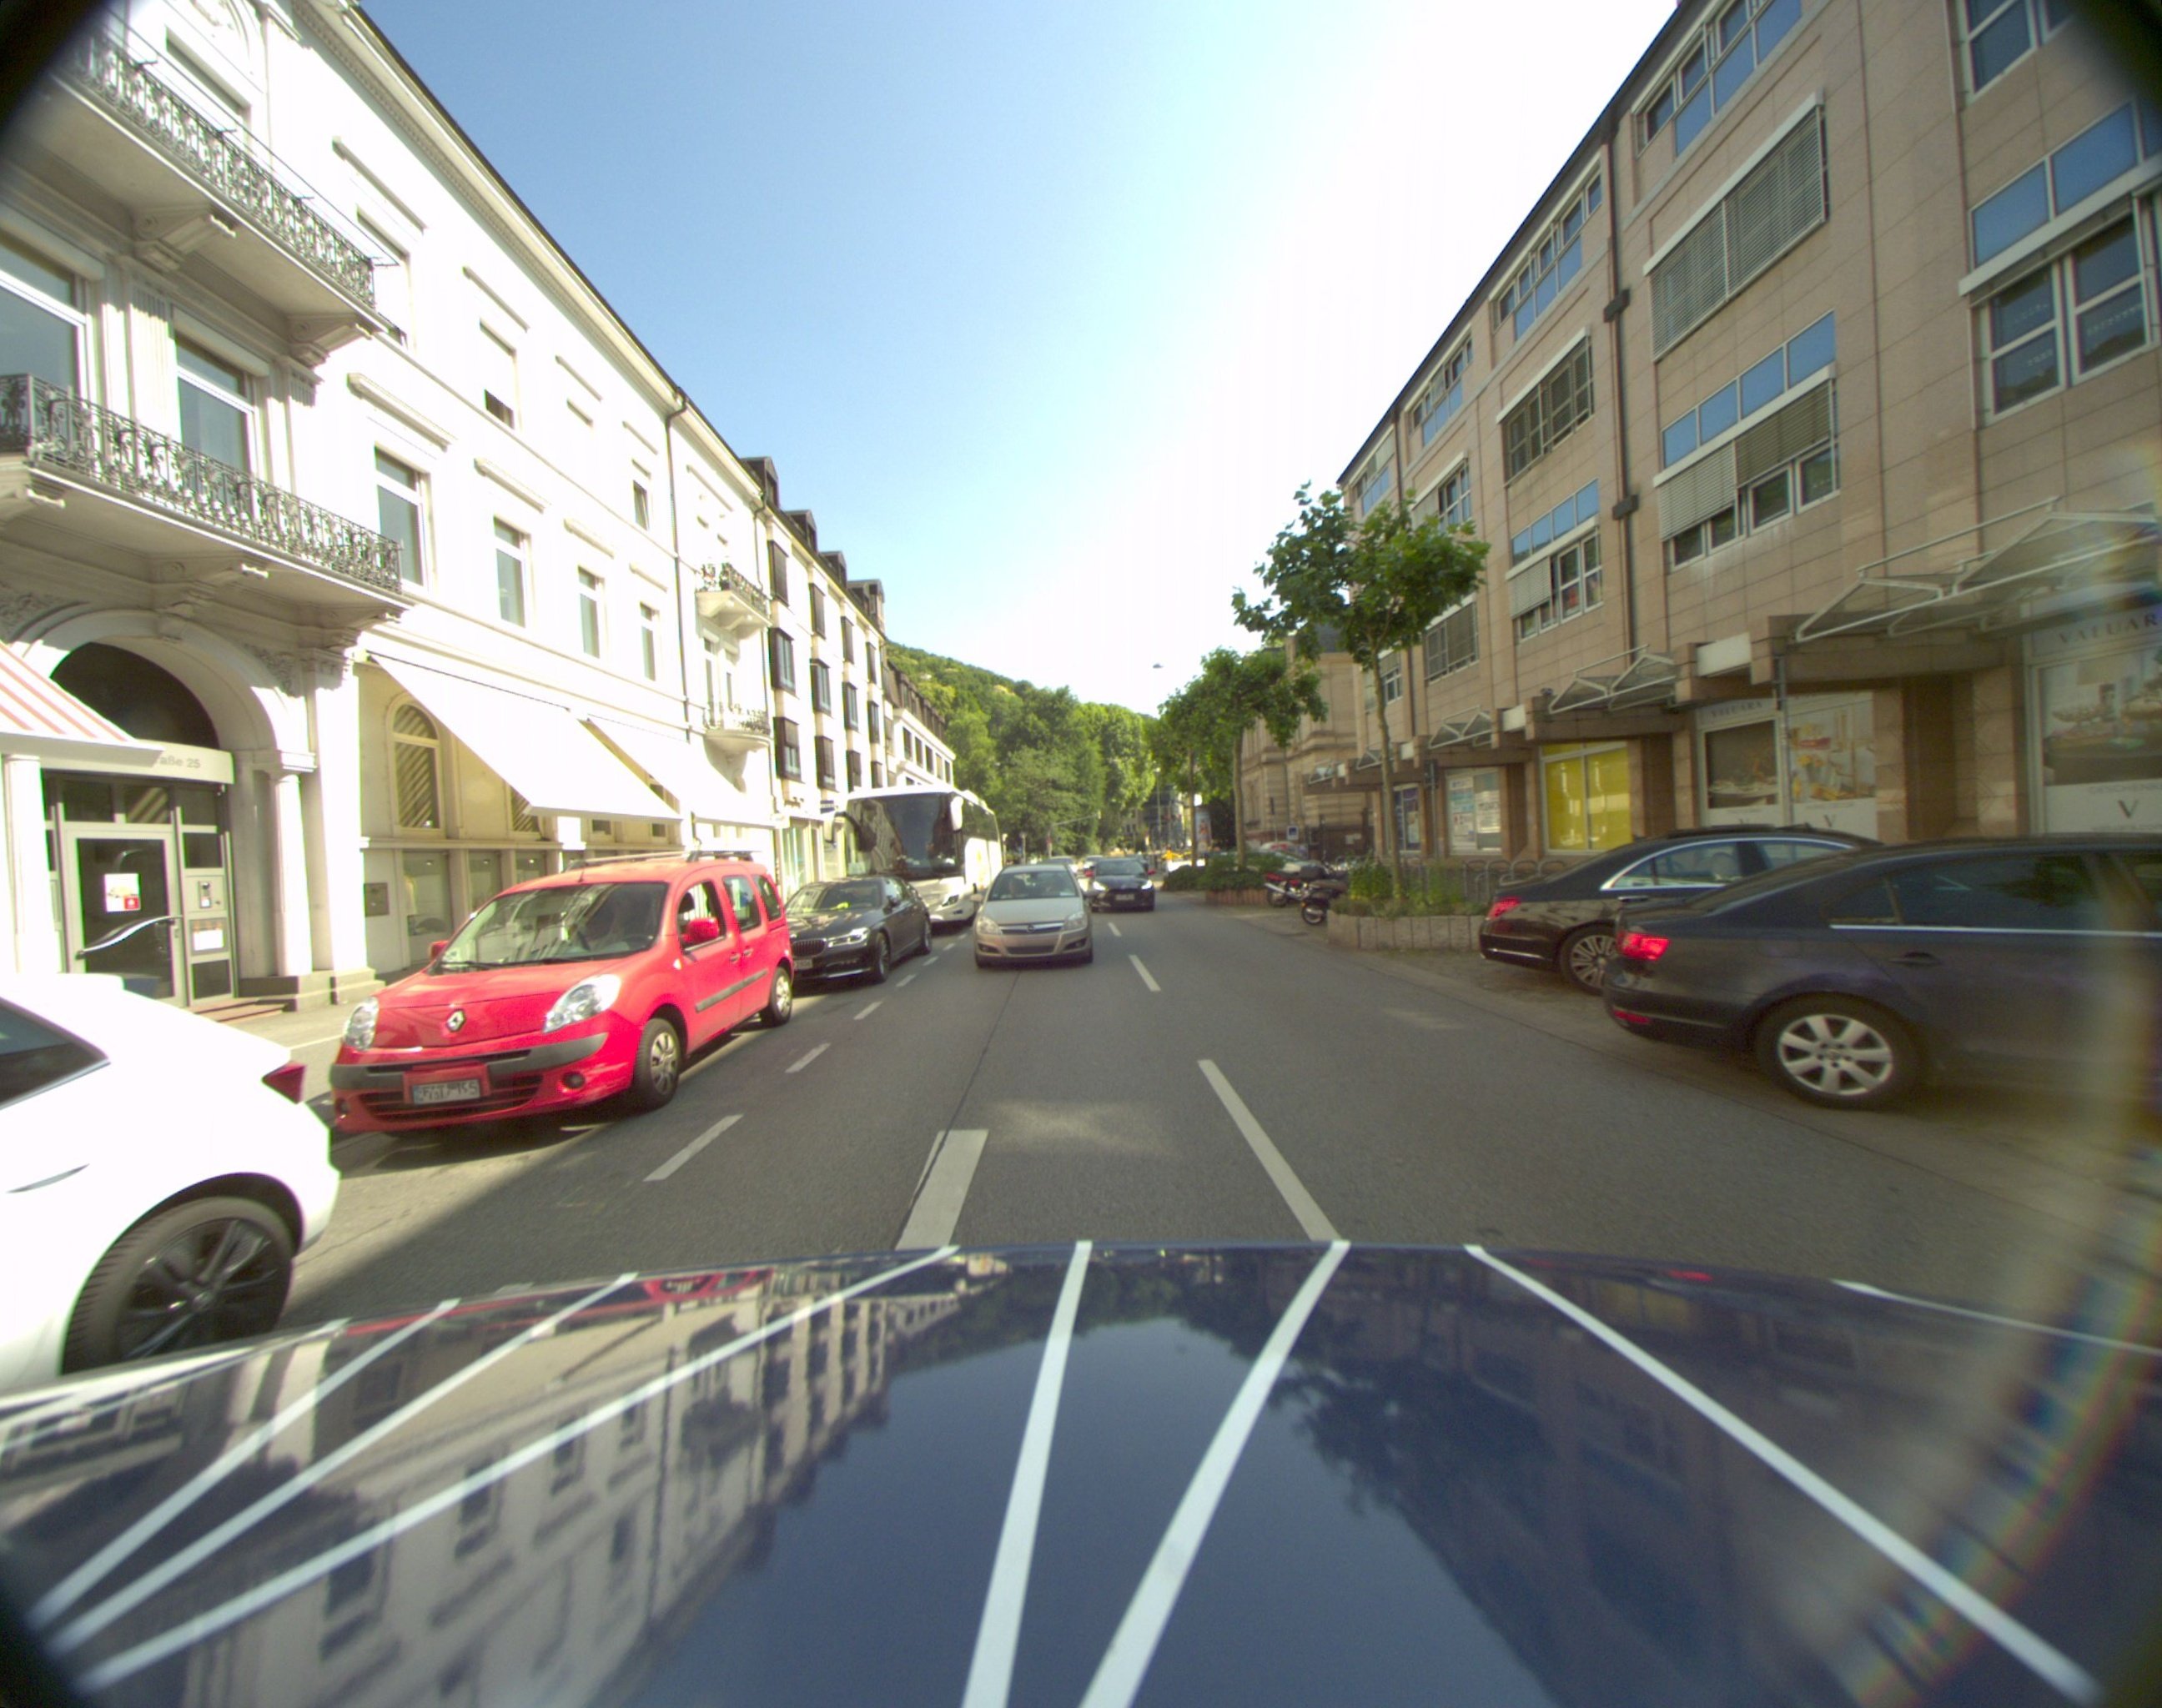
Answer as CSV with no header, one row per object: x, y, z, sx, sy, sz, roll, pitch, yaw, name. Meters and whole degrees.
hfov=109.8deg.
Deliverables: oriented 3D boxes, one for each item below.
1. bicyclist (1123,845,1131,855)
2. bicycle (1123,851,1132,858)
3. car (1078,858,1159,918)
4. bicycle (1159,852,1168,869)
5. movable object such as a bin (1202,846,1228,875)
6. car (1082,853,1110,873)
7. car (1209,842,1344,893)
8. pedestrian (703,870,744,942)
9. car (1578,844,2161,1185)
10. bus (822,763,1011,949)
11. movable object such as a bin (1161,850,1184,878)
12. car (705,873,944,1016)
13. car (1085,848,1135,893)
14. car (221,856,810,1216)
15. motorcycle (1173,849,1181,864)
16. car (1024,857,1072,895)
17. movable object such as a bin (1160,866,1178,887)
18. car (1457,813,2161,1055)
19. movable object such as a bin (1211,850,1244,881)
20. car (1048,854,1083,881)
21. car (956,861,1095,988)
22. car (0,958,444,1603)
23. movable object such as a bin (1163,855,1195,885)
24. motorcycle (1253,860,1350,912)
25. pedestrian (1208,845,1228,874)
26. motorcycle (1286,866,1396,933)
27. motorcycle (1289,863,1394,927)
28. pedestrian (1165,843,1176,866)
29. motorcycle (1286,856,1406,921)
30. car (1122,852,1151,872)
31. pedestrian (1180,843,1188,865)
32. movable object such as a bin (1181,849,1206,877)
7.448,-0.691,123.264,0.866,1.566,0.944,-2,3,24,bicyclist
7.520,0.118,123.491,0.782,1.114,1.680,-3,0,25,bicycle
0.964,0.894,21.686,1.811,1.443,3.952,-3,0,-4,car
6.215,0.467,56.984,0.430,1.114,2.244,-5,2,10,bicycle
7.315,0.342,41.551,1.211,1.442,1.364,-5,0,5,movable object such as a bin
1.145,0.664,58.496,1.941,1.420,4.549,-3,0,-1,car
6.780,0.488,26.521,4.047,1.486,1.939,-4,0,40,car
-8.958,1.292,19.056,0.568,1.721,0.769,-3,1,-1,pedestrian
5.598,0.713,3.948,4.785,1.414,1.886,-5,0,39,car
-4.062,0.010,22.359,2.889,3.720,12.423,-5,0,-2,bus
5.043,0.552,41.872,1.126,1.442,1.439,-5,0,5,movable object such as a bin
-3.639,1.182,12.001,1.864,1.461,5.225,-5,0,0,car
1.169,0.661,32.199,1.890,1.674,4.141,-3,0,0,car
-3.933,1.031,6.457,1.832,1.852,4.352,-5,0,-4,car
7.202,0.170,56.866,0.454,0.992,2.161,-5,1,9,motorcycle
-1.539,0.943,34.072,1.849,1.421,4.209,-3,1,-5,car
3.895,0.989,33.614,0.556,0.934,0.499,-2,0,-27,movable object such as a bin
6.325,0.608,6.938,4.745,1.524,1.994,-4,0,42,car
6.804,0.537,35.343,1.212,1.292,1.080,-5,0,-1,movable object such as a bin
-0.921,0.782,45.798,1.941,1.421,4.341,-3,1,-1,car
-0.700,0.951,12.270,1.711,1.513,4.406,-4,0,1,car
-3.646,1.227,1.005,1.818,1.457,4.579,-5,-1,-3,car
4.538,0.733,35.149,1.280,1.292,0.853,-4,1,-1,movable object such as a bin
5.602,0.825,19.344,2.174,1.163,0.922,-4,0,27,motorcycle
8.353,0.310,46.368,0.891,1.715,0.748,-4,1,-7,pedestrian
5.038,0.884,14.780,1.912,1.163,0.761,-4,0,20,motorcycle
5.290,0.839,15.487,1.912,1.163,0.729,-4,0,20,motorcycle
6.792,0.060,57.400,0.696,1.686,0.690,-3,2,2,pedestrian
5.888,0.765,16.935,2.348,1.260,1.295,-4,0,20,motorcycle
4.195,0.571,57.958,1.941,1.346,4.249,-3,0,1,car
7.690,-0.006,56.840,0.550,1.656,0.937,-3,2,8,pedestrian
6.170,0.495,41.776,1.126,1.442,1.439,-5,0,5,movable object such as a bin
